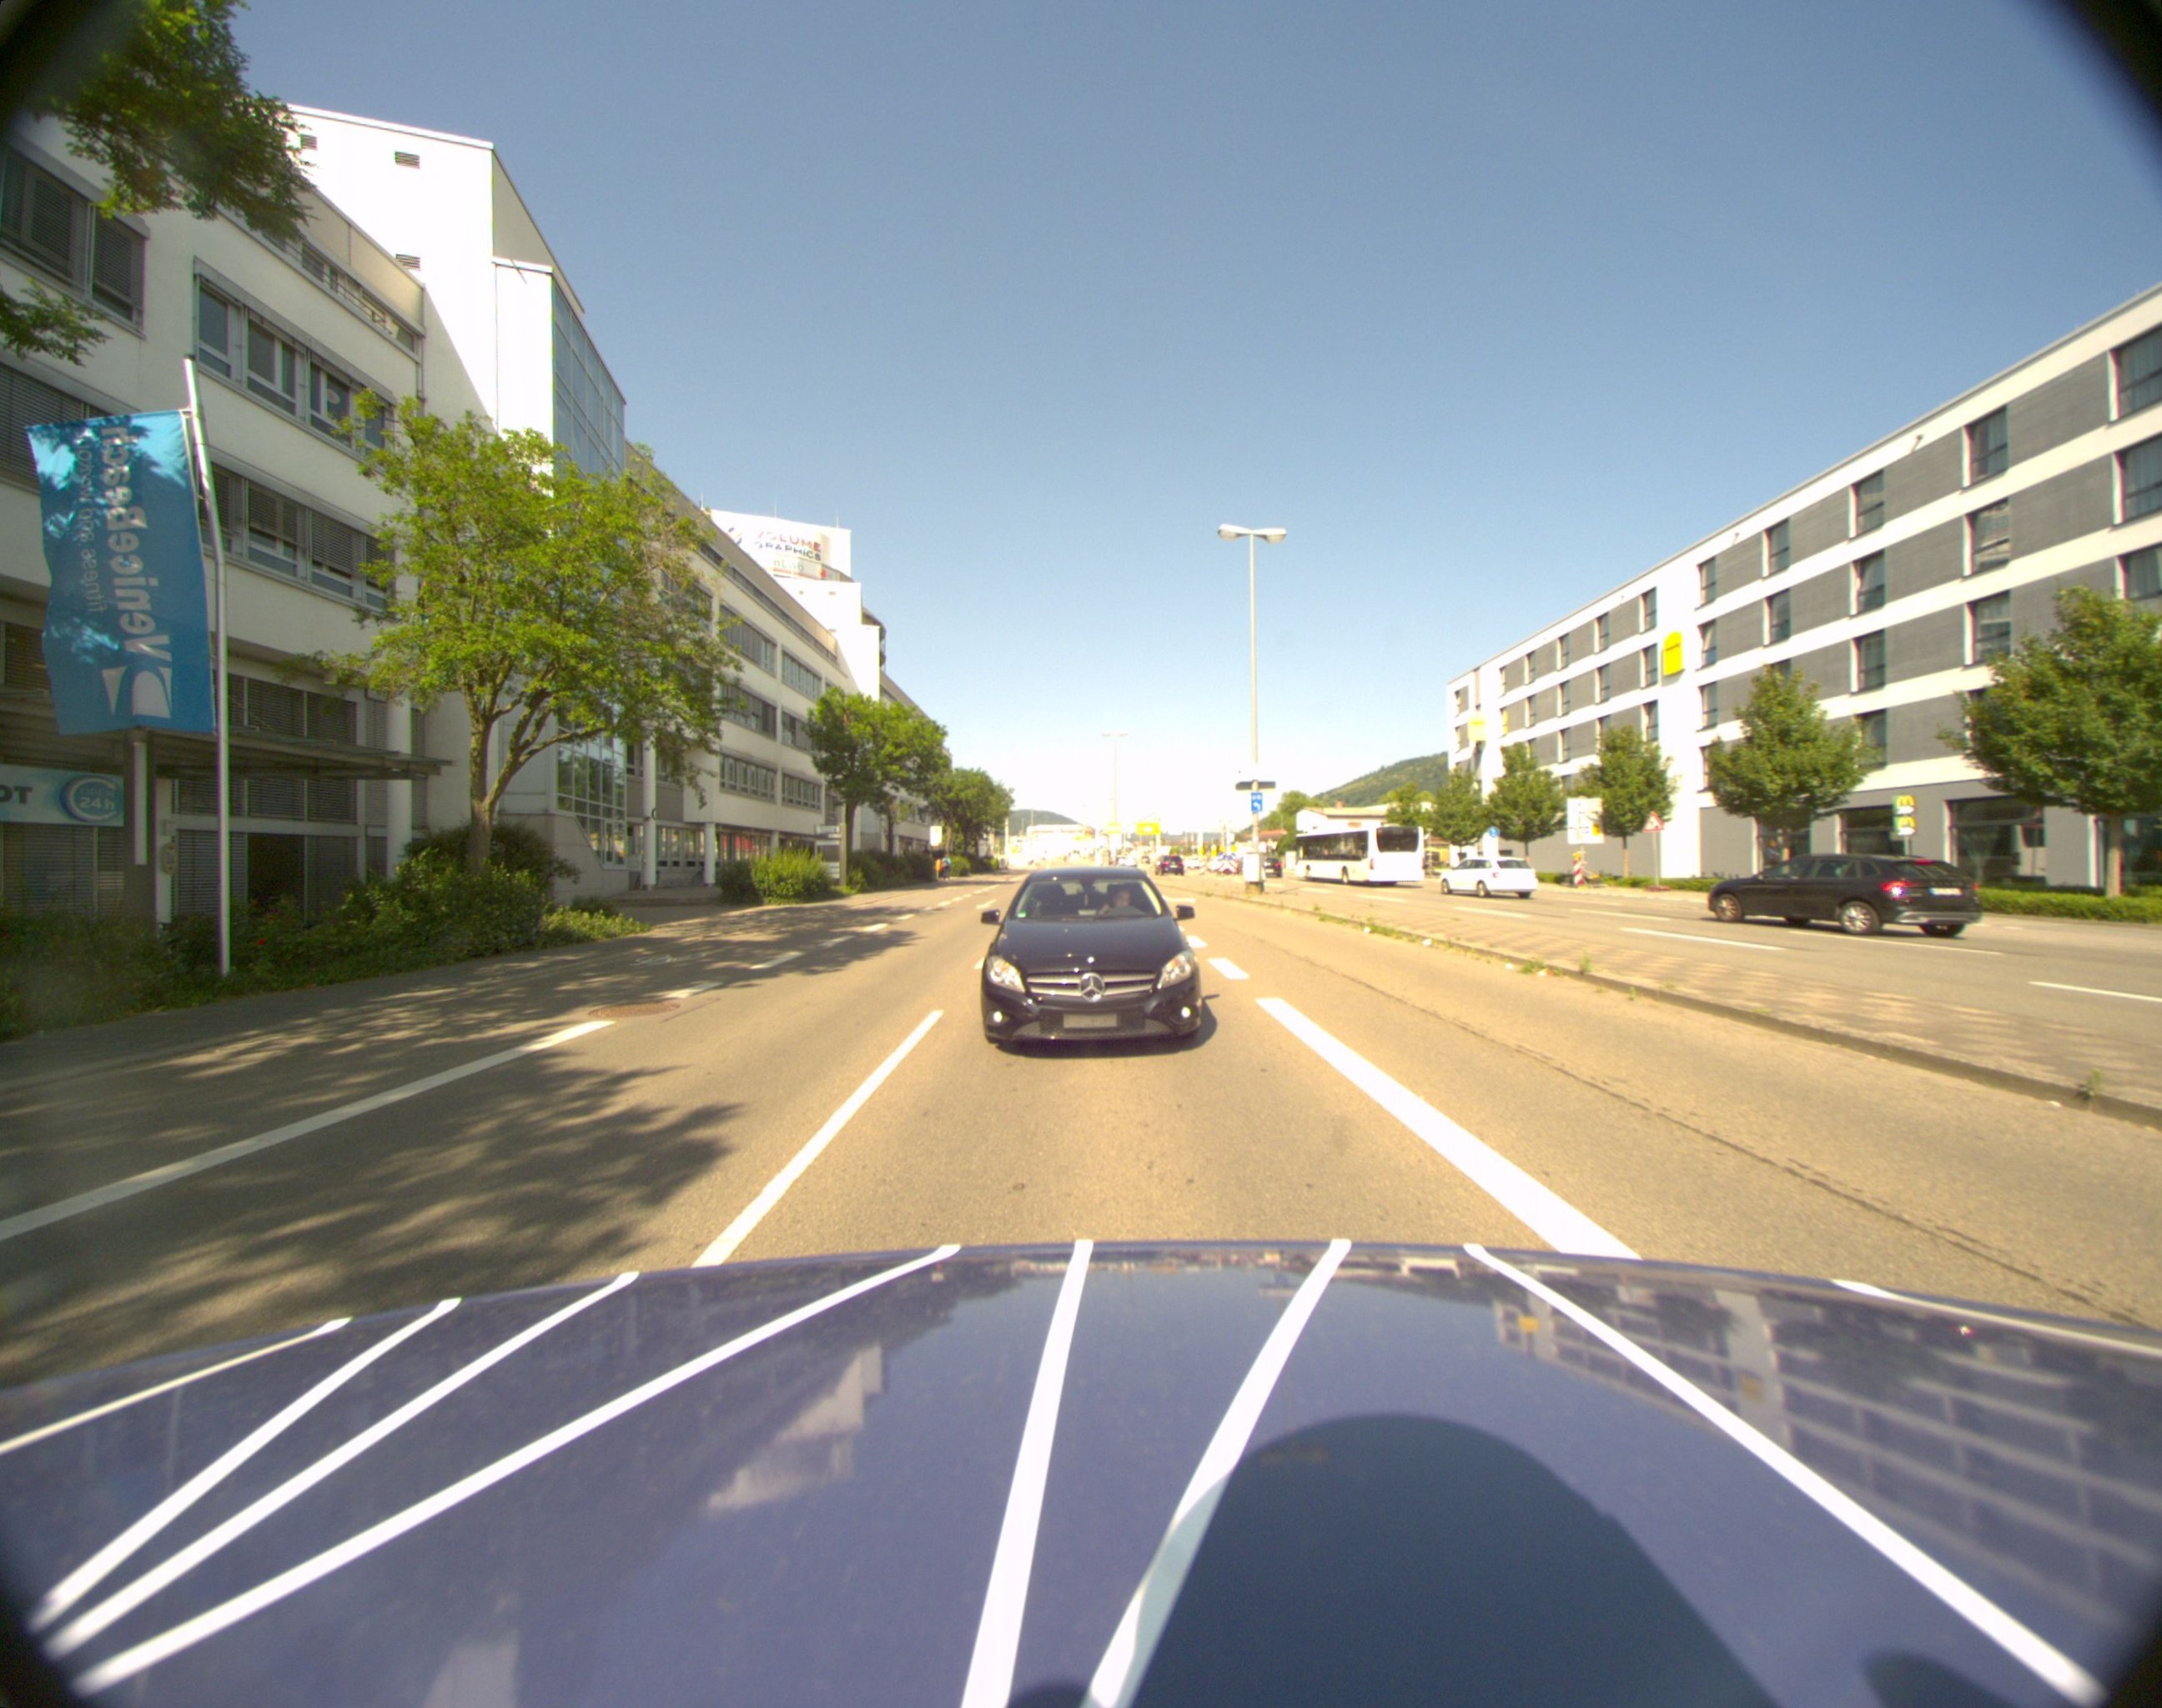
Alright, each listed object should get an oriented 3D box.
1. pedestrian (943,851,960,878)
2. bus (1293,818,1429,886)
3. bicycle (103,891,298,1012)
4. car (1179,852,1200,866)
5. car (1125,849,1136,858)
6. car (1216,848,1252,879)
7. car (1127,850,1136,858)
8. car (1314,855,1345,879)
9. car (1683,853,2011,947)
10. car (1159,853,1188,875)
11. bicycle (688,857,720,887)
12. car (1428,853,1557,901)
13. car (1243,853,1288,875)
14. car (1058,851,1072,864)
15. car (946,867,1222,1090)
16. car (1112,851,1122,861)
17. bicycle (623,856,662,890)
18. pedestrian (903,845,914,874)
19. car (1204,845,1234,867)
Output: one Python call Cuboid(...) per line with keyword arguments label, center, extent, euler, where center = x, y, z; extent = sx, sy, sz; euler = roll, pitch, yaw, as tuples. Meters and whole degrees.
Cuboid(label="pedestrian", center=(-9.202, 0.725, 53.904), extent=(0.942, 1.875, 1.289), euler=(2, 1, 0))
Cuboid(label="bus", center=(14.468, -0.102, 40.760), extent=(2.745, 3.061, 11.974), euler=(1, 0, 0))
Cuboid(label="bicycle", center=(-11.269, 1.189, 9.829), extent=(0.506, 1.321, 1.883), euler=(0, 0, -8))
Cuboid(label="car", center=(13.367, 0.627, 93.666), extent=(1.719, 1.609, 3.590), euler=(-1, 0, -5))
Cuboid(label="car", center=(10.958, -0.059, 168.039), extent=(1.998, 1.702, 4.892), euler=(0, -2, 1))
Cuboid(label="car", center=(10.757, 0.606, 53.769), extent=(1.679, 2.002, 4.164), euler=(-2, 1, 1))
Cuboid(label="car", center=(12.852, 0.030, 195.415), extent=(1.999, 2.002, 3.999), euler=(0, 0, -1))
Cuboid(label="car", center=(13.992, 0.709, 42.857), extent=(1.058, 1.200, 2.220), euler=(-2, 1, 2))
Cuboid(label="car", center=(15.090, 0.806, 15.423), extent=(1.999, 1.568, 4.410), euler=(2, 0, -5))
Cuboid(label="car", center=(6.970, 0.720, 57.510), extent=(1.890, 1.608, 4.135), euler=(-1, 0, 3))
Cuboid(label="bicycle", center=(-17.716, 0.814, 35.728), extent=(0.506, 1.346, 1.884), euler=(-1, 0, 1))
Cuboid(label="car", center=(14.774, 0.769, 27.610), extent=(1.999, 1.477, 4.410), euler=(2, 1, -5))
Cuboid(label="car", center=(13.118, 0.688, 54.414), extent=(1.998, 1.424, 4.890), euler=(-1, 0, 0))
Cuboid(label="car", center=(-2.768, 0.577, 133.011), extent=(1.998, 2.002, 4.000), euler=(-2, 1, 2))
Cuboid(label="car", center=(0.046, 0.909, 7.639), extent=(1.905, 1.431, 4.693), euler=(-1, 0, 1))
Cuboid(label="car", center=(7.728, 0.455, 162.285), extent=(1.998, 2.002, 3.999), euler=(-2, 1, 1))
Cuboid(label="bicycle", center=(-18.057, 0.767, 31.331), extent=(0.506, 1.346, 1.884), euler=(-1, 0, 1))
Cuboid(label="pedestrian", center=(-15.105, 0.504, 66.583), extent=(0.717, 2.534, 0.716), euler=(-1, 1, -1))
Cuboid(label="car", center=(13.993, 0.236, 77.256), extent=(1.999, 2.001, 4.000), euler=(-4, -2, -4))
